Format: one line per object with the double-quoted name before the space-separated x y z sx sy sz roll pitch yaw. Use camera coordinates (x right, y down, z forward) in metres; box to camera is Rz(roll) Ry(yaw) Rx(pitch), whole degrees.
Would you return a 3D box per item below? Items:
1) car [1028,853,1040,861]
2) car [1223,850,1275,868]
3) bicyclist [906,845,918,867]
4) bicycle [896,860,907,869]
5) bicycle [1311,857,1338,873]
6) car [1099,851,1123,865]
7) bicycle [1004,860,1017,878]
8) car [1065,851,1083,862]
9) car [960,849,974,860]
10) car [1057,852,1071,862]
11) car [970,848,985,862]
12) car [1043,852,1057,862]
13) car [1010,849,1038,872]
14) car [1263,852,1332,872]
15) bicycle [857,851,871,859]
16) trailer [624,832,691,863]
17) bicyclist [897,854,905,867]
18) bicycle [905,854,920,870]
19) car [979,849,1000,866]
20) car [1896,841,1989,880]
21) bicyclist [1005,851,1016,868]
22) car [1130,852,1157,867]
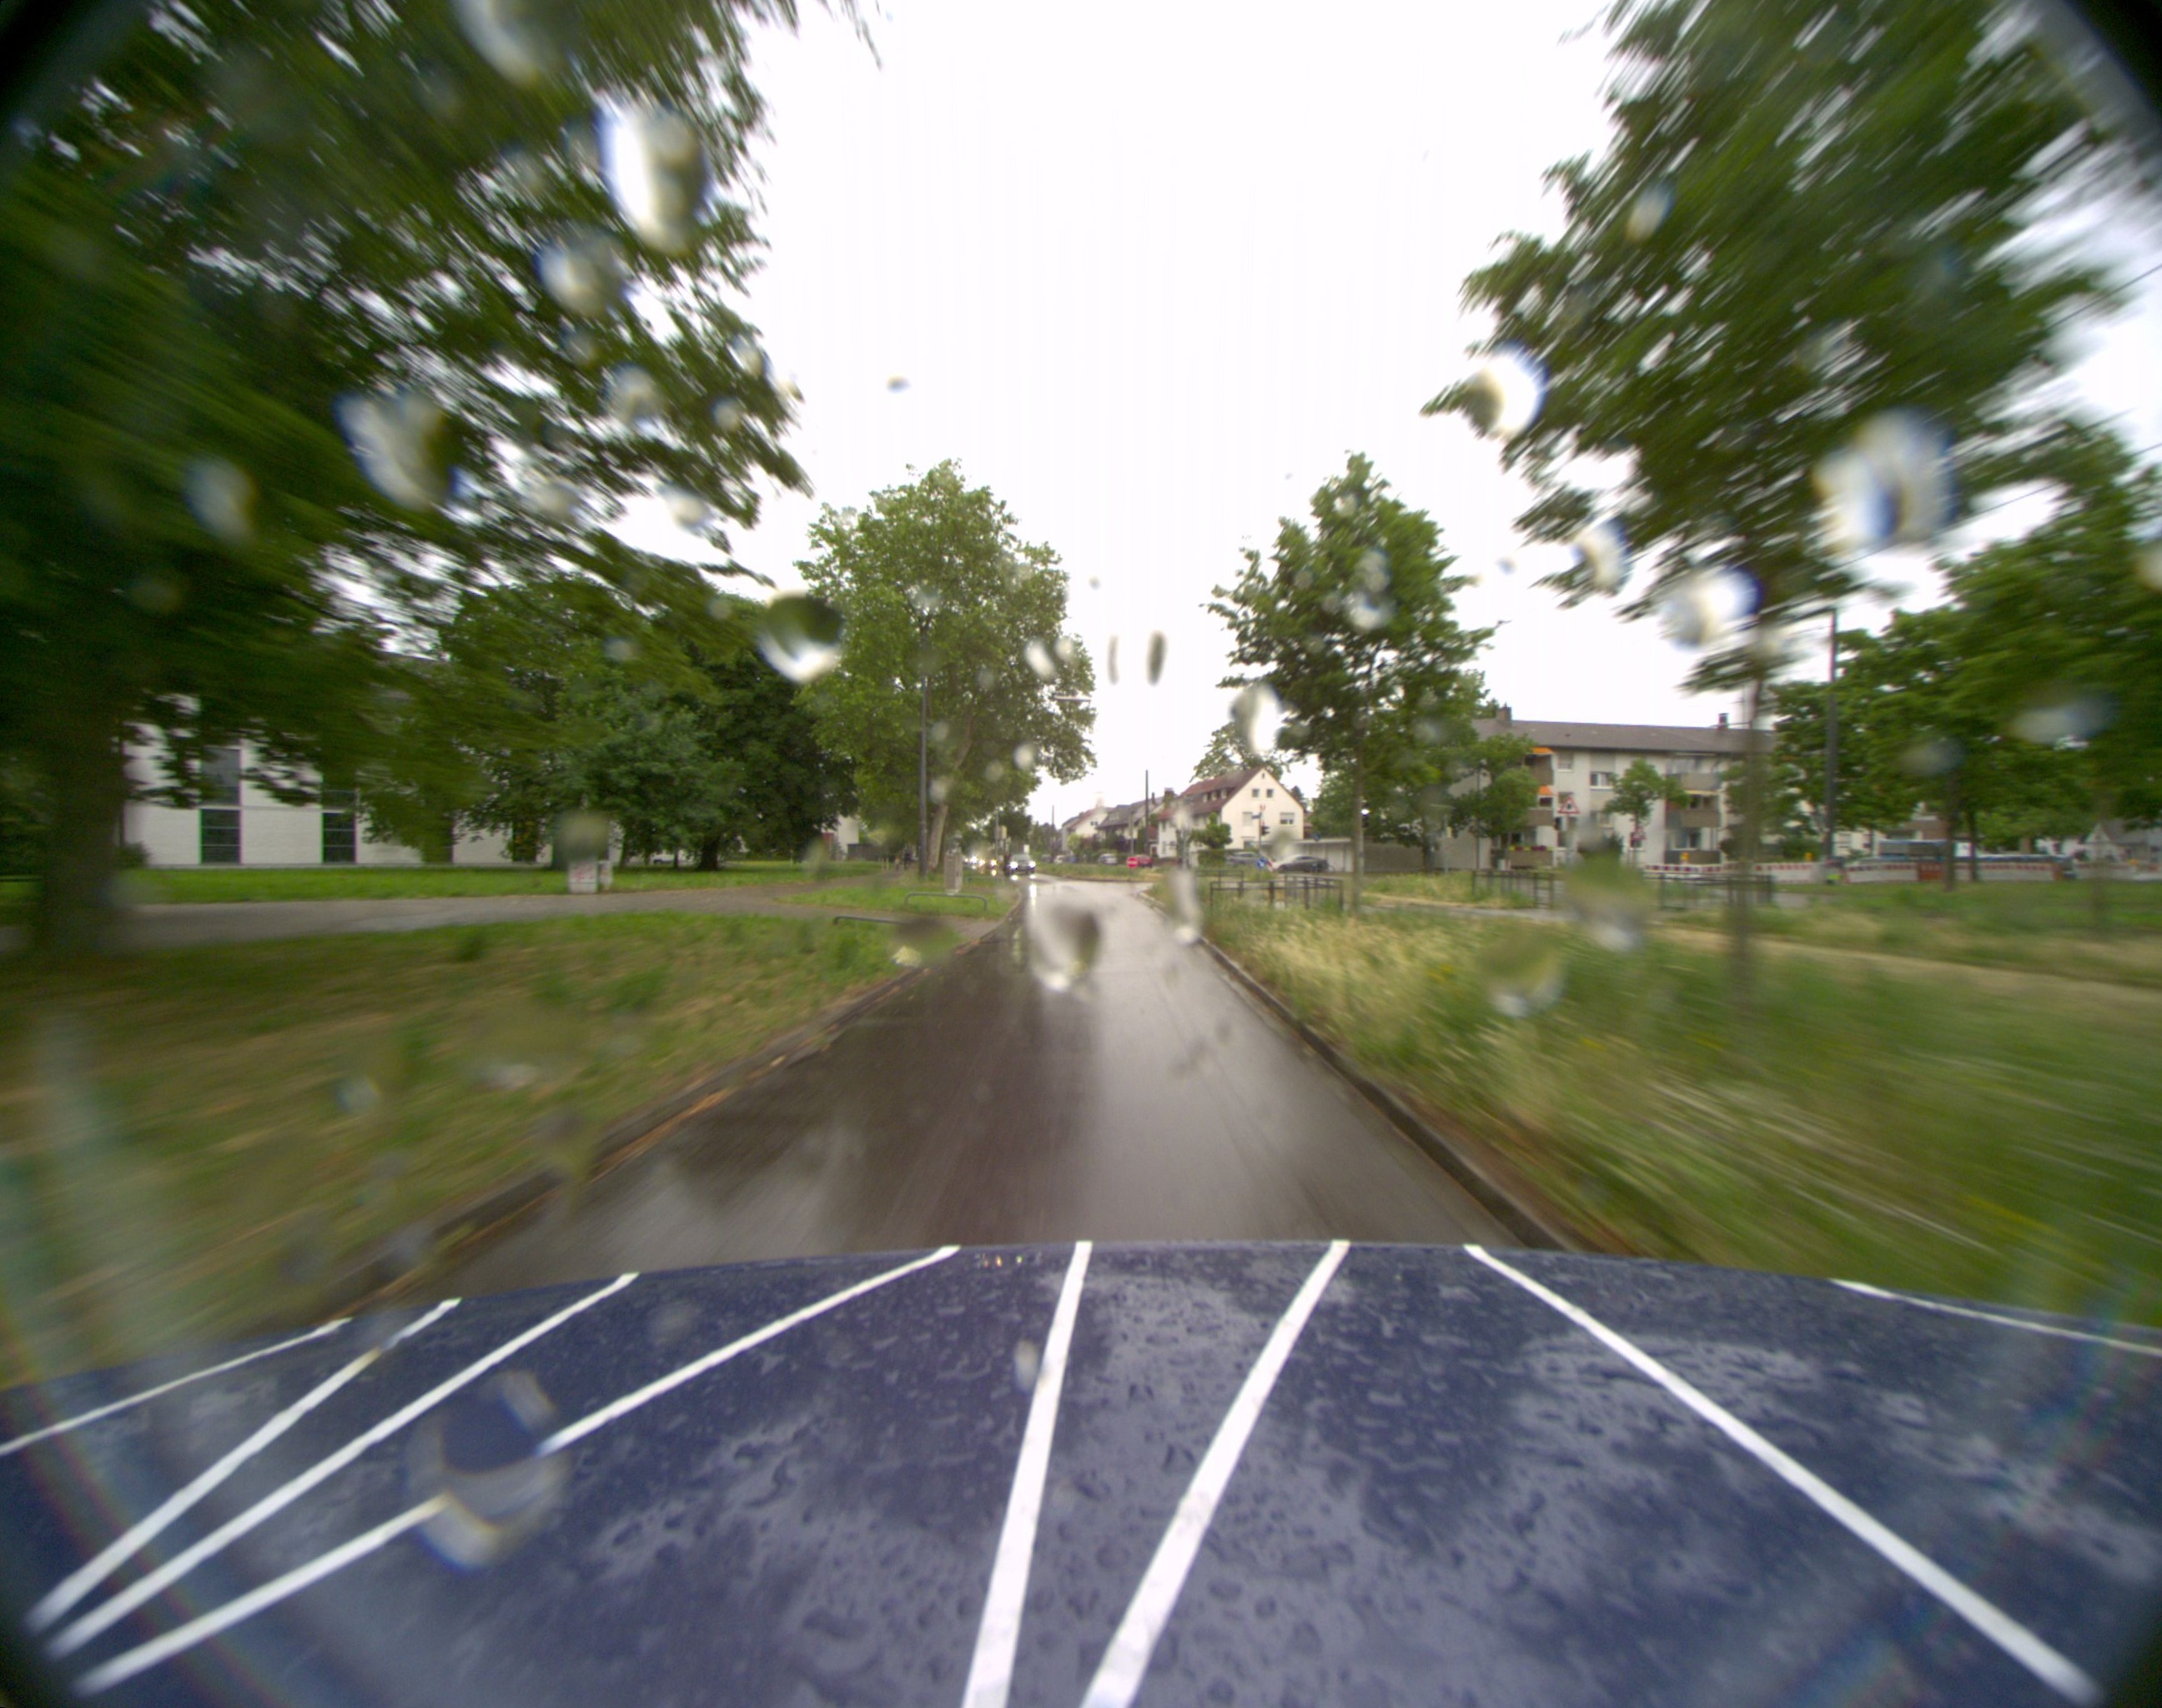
"car" -9.659 0.602 154.735 1.760 1.507 3.850 -3 1 -12
"car" 14.645 0.456 66.177 4.002 1.567 1.890 0 0 -13
"bicyclist" -13.056 0.168 58.827 0.713 1.711 0.957 0 1 1
"bicycle" -13.880 0.805 58.704 0.488 0.704 1.457 0 1 -1
"bicycle" 16.744 0.753 52.279 0.483 1.013 1.837 -4 2 -36
"car" 3.779 0.485 96.525 2.000 1.604 4.679 -1 0 -11
"bicycle" -4.479 0.933 48.062 0.659 1.008 2.255 0 1 -9
"car" -1.067 0.398 118.984 1.851 1.696 4.177 -1 1 -14
"car" -18.027 0.105 119.845 1.769 1.715 3.929 0 1 -14
"car" -2.836 0.499 125.951 1.719 1.520 3.597 -3 1 -13
"car" -13.898 0.115 101.925 1.769 1.715 3.930 0 1 -11
"car" -5.599 0.518 137.672 1.760 1.604 4.106 -3 1 -12
"car" -4.505 0.498 59.525 1.769 1.715 3.931 -2 0 -10
"car" 16.519 0.599 58.146 4.741 1.357 1.846 -1 0 -10
"bicycle" -28.961 0.132 101.506 0.520 1.115 1.942 3 1 31
"trailer" -32.023 -0.487 57.570 1.886 2.295 4.029 1 0 39
"bicyclist" -13.876 0.498 58.661 0.488 1.032 0.591 0 1 -1
"bicycle" -13.057 0.616 58.862 0.713 1.136 1.972 0 1 1
"car" -9.617 0.365 79.439 1.769 1.715 3.929 -1 1 -13
"car" 54.588 0.423 48.175 4.472 2.432 1.915 1 0 -12
"bicyclist" -4.466 0.340 48.003 0.622 1.078 0.624 0 1 -9
"car" 6.815 0.569 83.438 1.848 1.538 3.968 -3 1 -11
